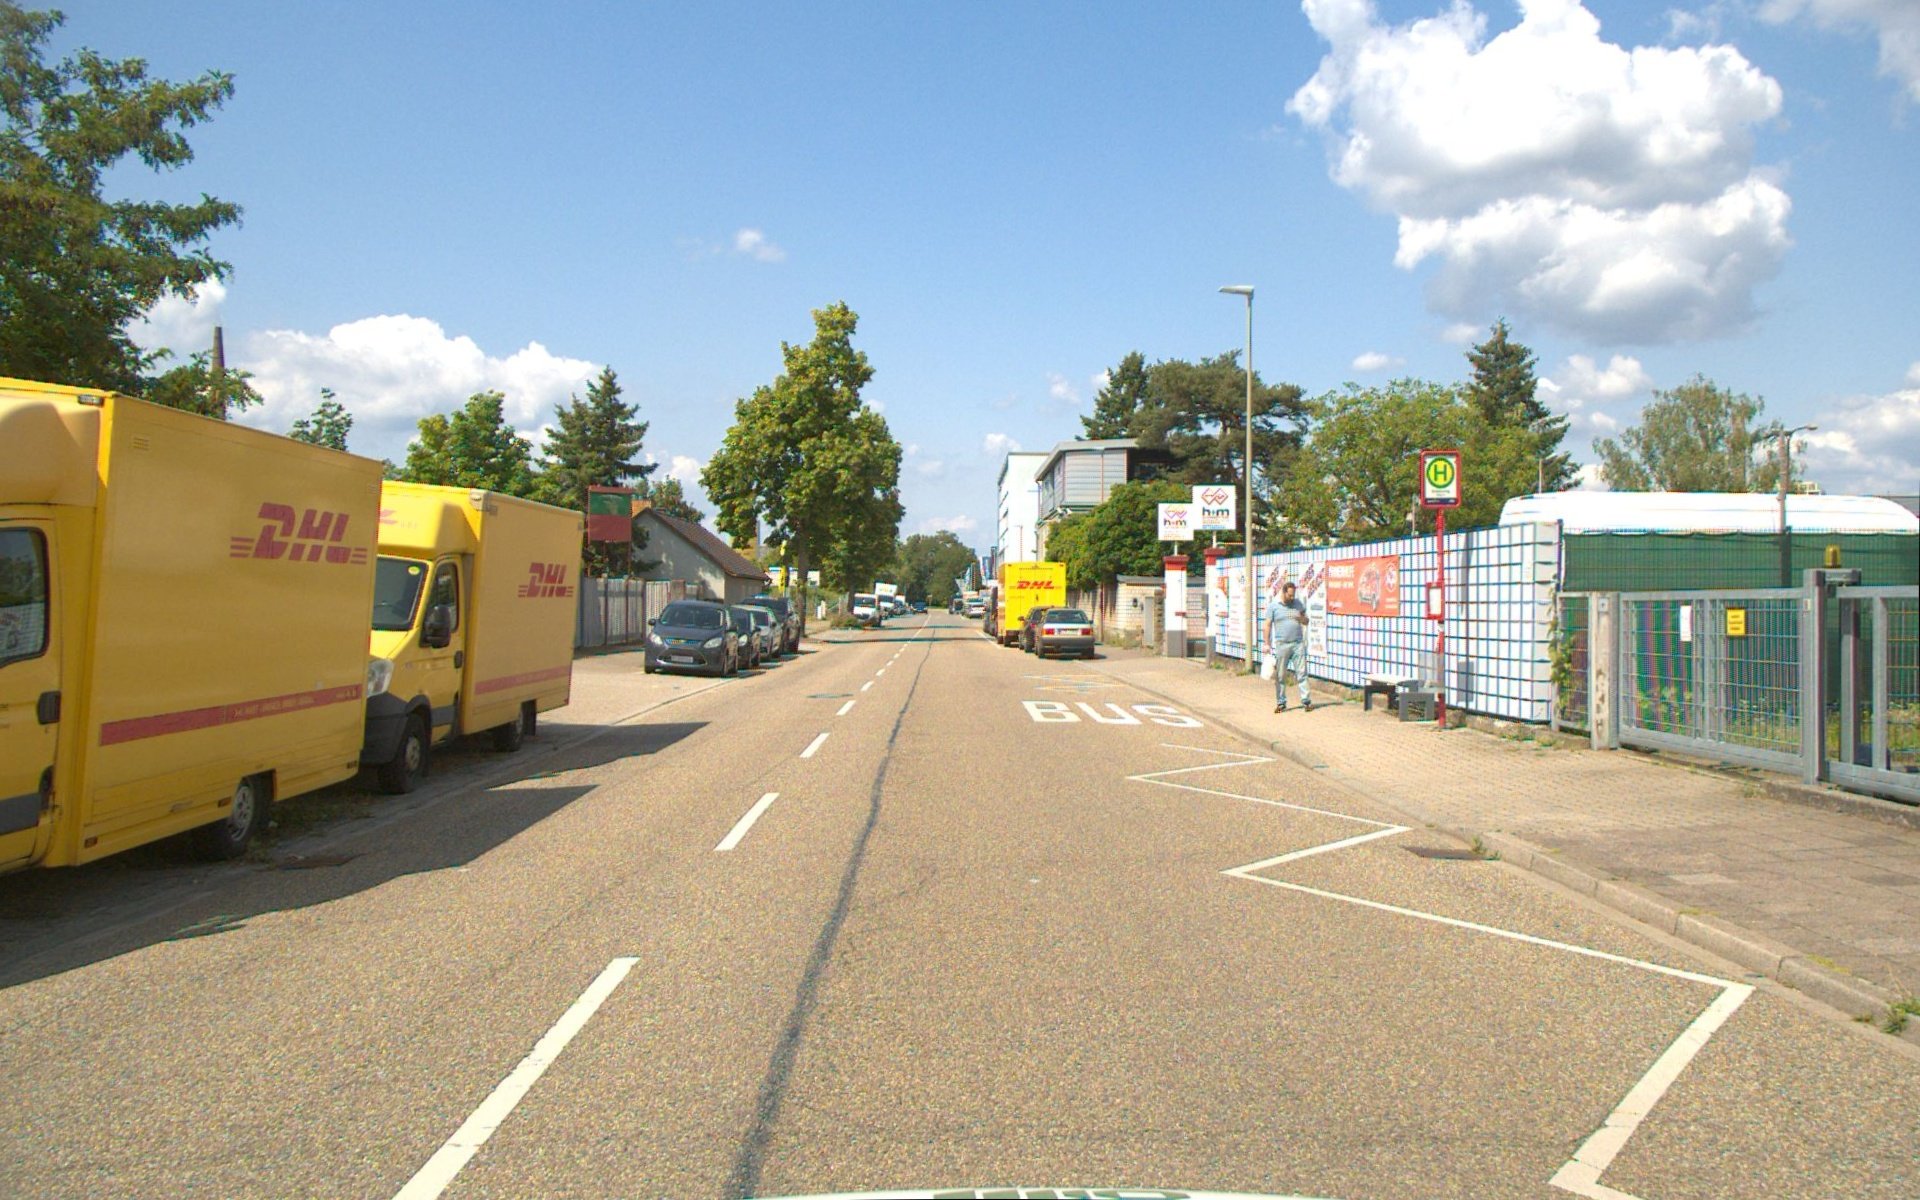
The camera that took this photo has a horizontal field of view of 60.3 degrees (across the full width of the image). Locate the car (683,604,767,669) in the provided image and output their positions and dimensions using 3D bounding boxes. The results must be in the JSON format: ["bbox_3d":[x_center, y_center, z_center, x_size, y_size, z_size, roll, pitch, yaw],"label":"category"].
[{"bbox_3d":[-5.968,0.902,42.430,1.595,1.473,4.025,4,0,-2],"label":"car"}]

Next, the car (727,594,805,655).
[{"bbox_3d":[-6.218,0.764,53.487,1.879,1.854,4.786,0,0,1],"label":"car"}]

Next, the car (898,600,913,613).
[{"bbox_3d":[-6.727,0.804,204.745,1.678,1.679,3.999,0,0,-1],"label":"car"}]

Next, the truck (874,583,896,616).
[{"bbox_3d":[-7.426,-0.035,164.425,1.988,3.209,6.499,0,0,-1],"label":"truck"}]

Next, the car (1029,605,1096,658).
[{"bbox_3d":[2.932,0.879,48.214,1.618,1.411,4.422,1,0,0],"label":"car"}]

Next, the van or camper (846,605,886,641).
[{"bbox_3d":[-6.761,1.630,119.431,2.128,2.455,7.699,0,0,2],"label":"van or camper"}]

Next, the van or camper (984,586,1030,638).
[{"bbox_3d":[2.237,0.568,79.934,1.953,2.331,5.447,2,0,-1],"label":"van or camper"}]

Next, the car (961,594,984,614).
[{"bbox_3d":[1.244,0.397,166.084,2.171,2.049,5.484,0,0,-1],"label":"car"}]

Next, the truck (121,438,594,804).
[{"bbox_3d":[-5.734,0.177,17.150,2.269,2.912,7.103,3,0,-1],"label":"truck"}]

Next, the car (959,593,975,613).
[{"bbox_3d":[0.734,0.278,176.509,1.673,2.126,3.999,0,0,-1],"label":"car"}]

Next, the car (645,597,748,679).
[{"bbox_3d":[-5.866,0.805,37.223,1.690,1.632,4.412,3,0,-2],"label":"car"}]

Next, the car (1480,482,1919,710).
[{"bbox_3d":[9.333,-0.047,21.010,4.815,2.698,2.069,0,0,-8],"label":"car"}]

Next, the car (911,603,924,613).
[{"bbox_3d":[-5.364,1.019,210.445,1.621,1.348,4.416,0,0,-1],"label":"car"}]

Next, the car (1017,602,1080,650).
[{"bbox_3d":[2.781,0.811,52.824,1.628,1.466,4.281,0,0,-2],"label":"car"}]

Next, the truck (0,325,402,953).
[{"bbox_3d":[-5.600,0.188,9.800,2.223,2.905,7.172,1,-1,-1],"label":"truck"}]

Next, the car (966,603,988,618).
[{"bbox_3d":[1.533,0.981,152.285,1.889,1.333,3.999,0,0,-1],"label":"car"}]

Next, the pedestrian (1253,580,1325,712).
[{"bbox_3d":[4.506,0.626,22.664,0.702,1.726,0.522,-5,0,-5],"label":"pedestrian"}]

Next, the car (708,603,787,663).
[{"bbox_3d":[-6.104,0.918,47.938,1.698,1.544,4.741,2,0,-1],"label":"car"}]

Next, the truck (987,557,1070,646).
[{"bbox_3d":[2.403,0.056,59.896,2.424,2.991,7.186,1,0,-2],"label":"truck"}]
